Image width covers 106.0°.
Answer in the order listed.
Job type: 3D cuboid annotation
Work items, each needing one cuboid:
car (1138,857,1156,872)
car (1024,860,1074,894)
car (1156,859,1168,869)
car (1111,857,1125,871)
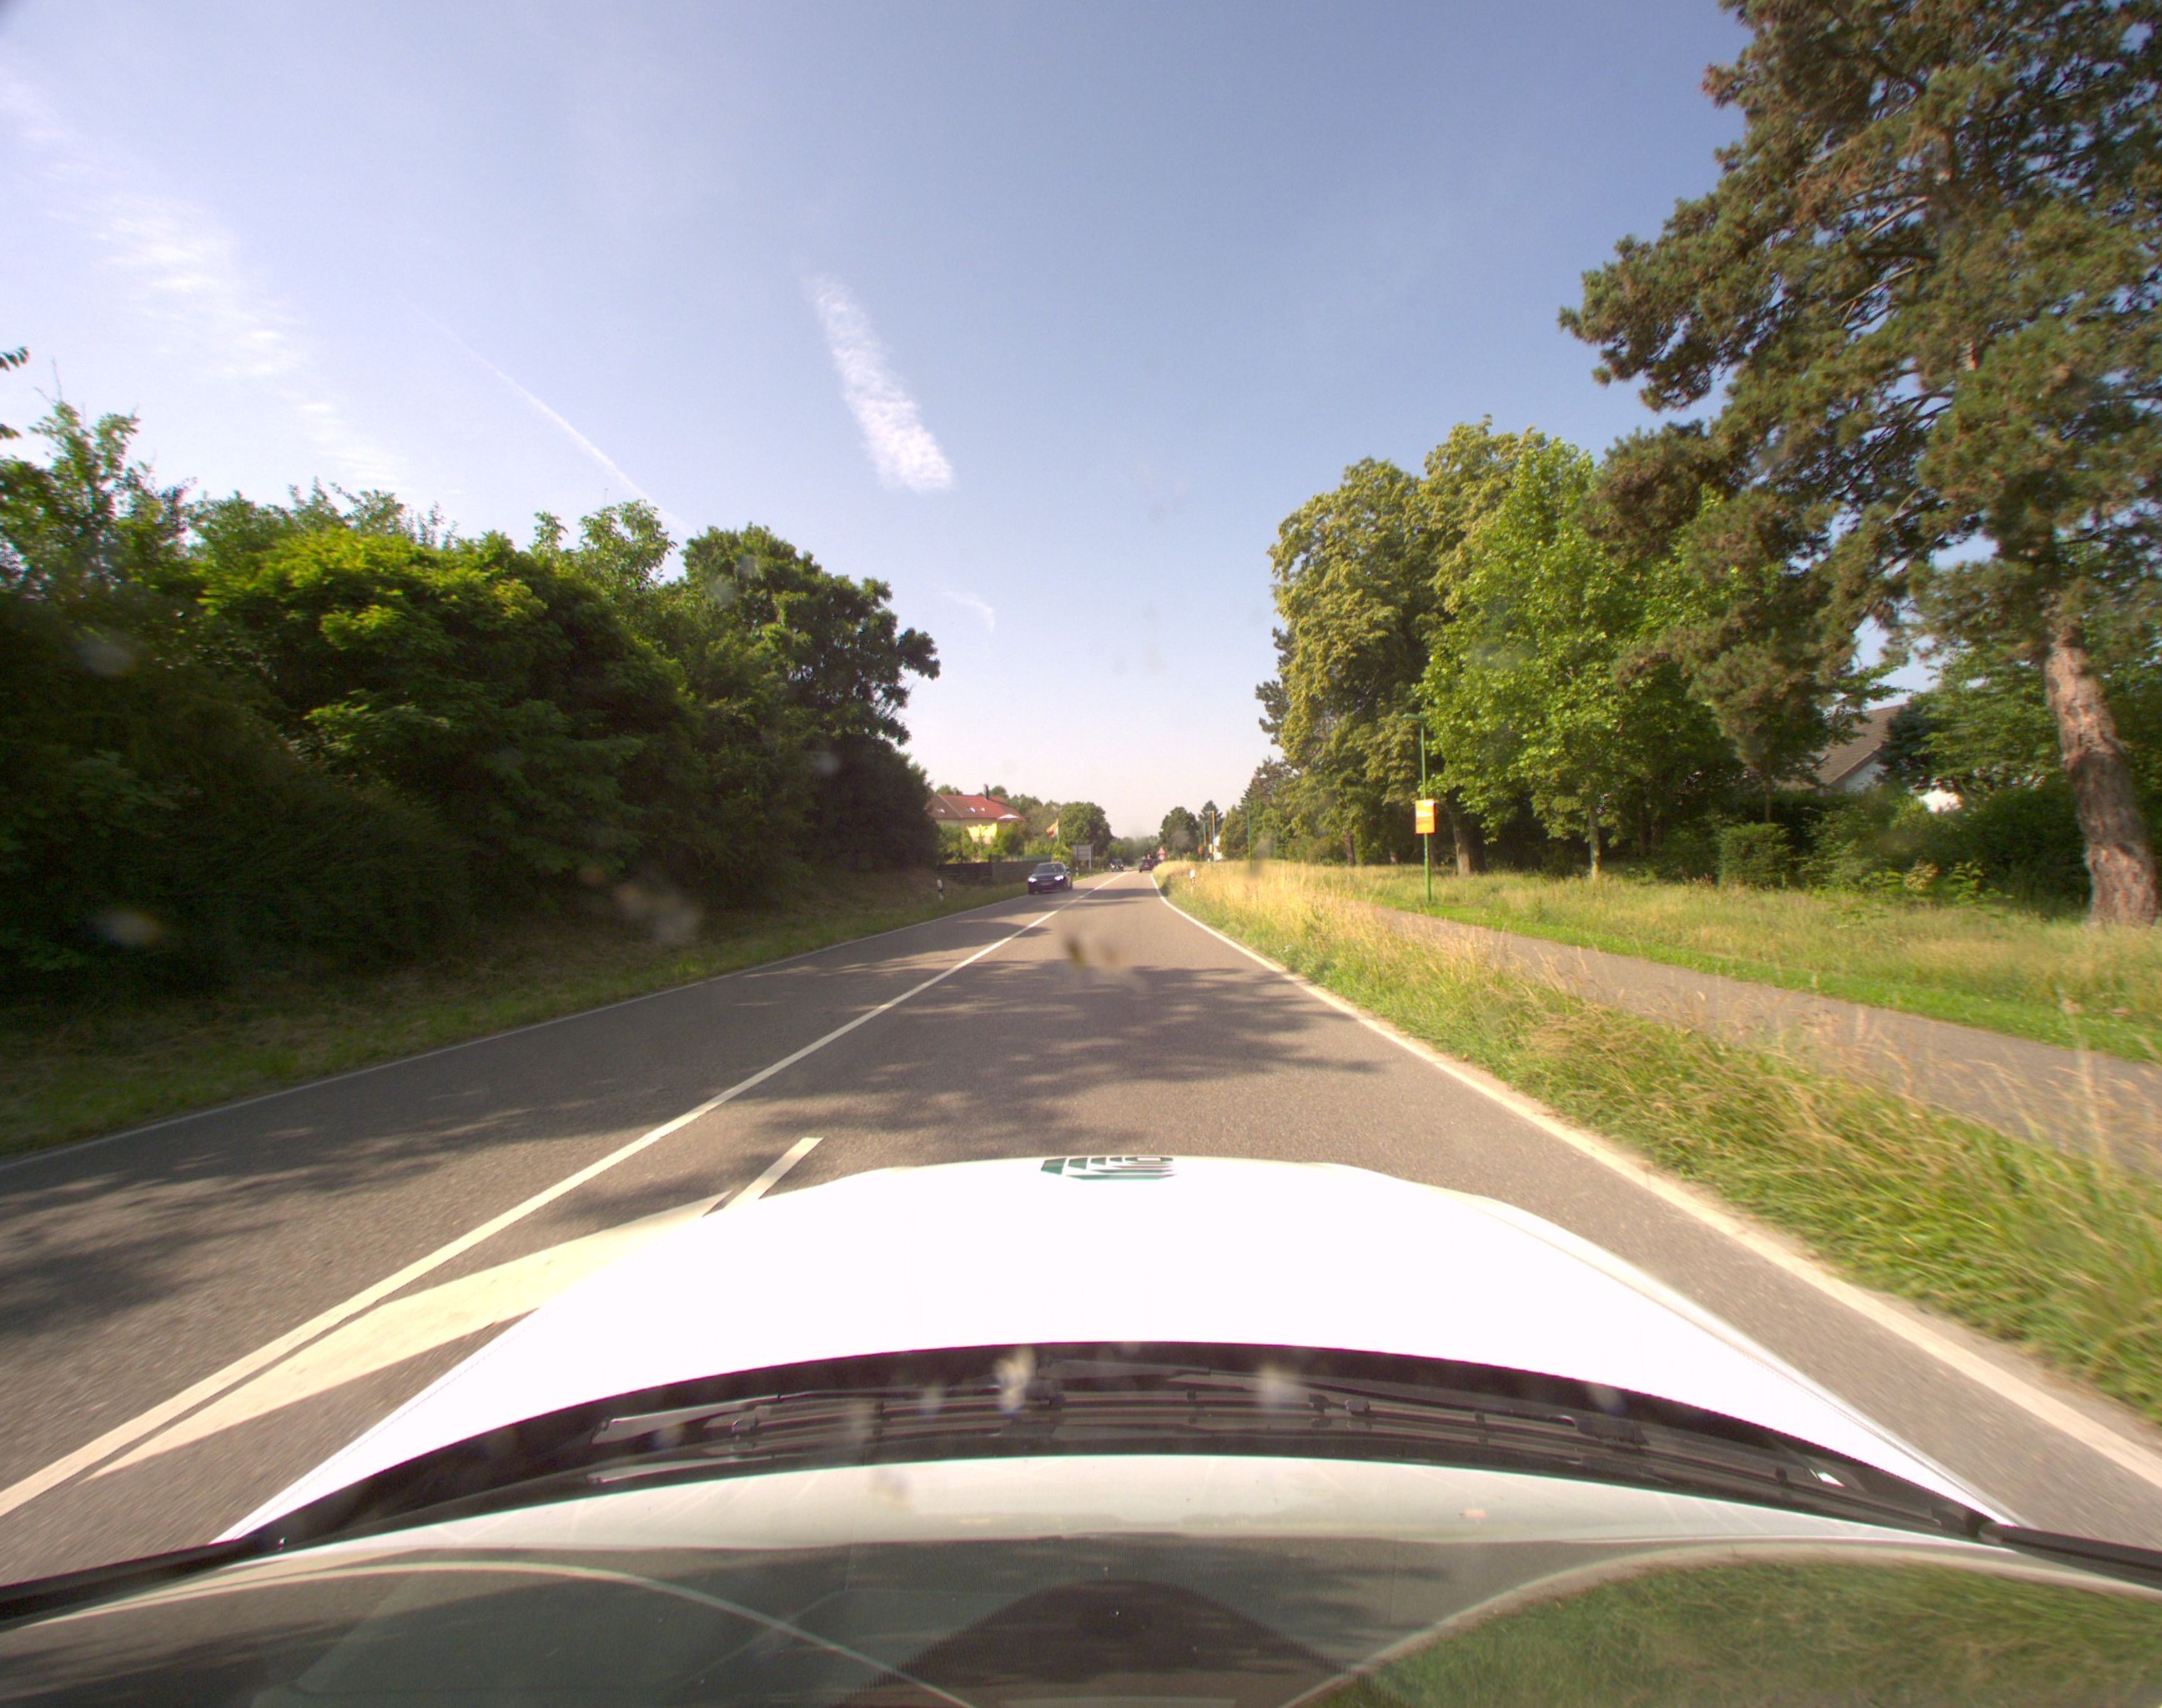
[{"bbox_3d":[8.032,1.295,99.434,1.918,1.771,4.002,-2,0,2],"label":"car"},{"bbox_3d":[-1.482,1.063,39.563,1.862,1.423,4.581,-4,0,3],"label":"car"},{"bbox_3d":[12.923,1.648,130.358,1.729,1.516,3.917,-2,0,2],"label":"car"},{"bbox_3d":[5.447,1.439,119.738,1.931,1.817,4.246,-4,-1,4],"label":"car"}]
